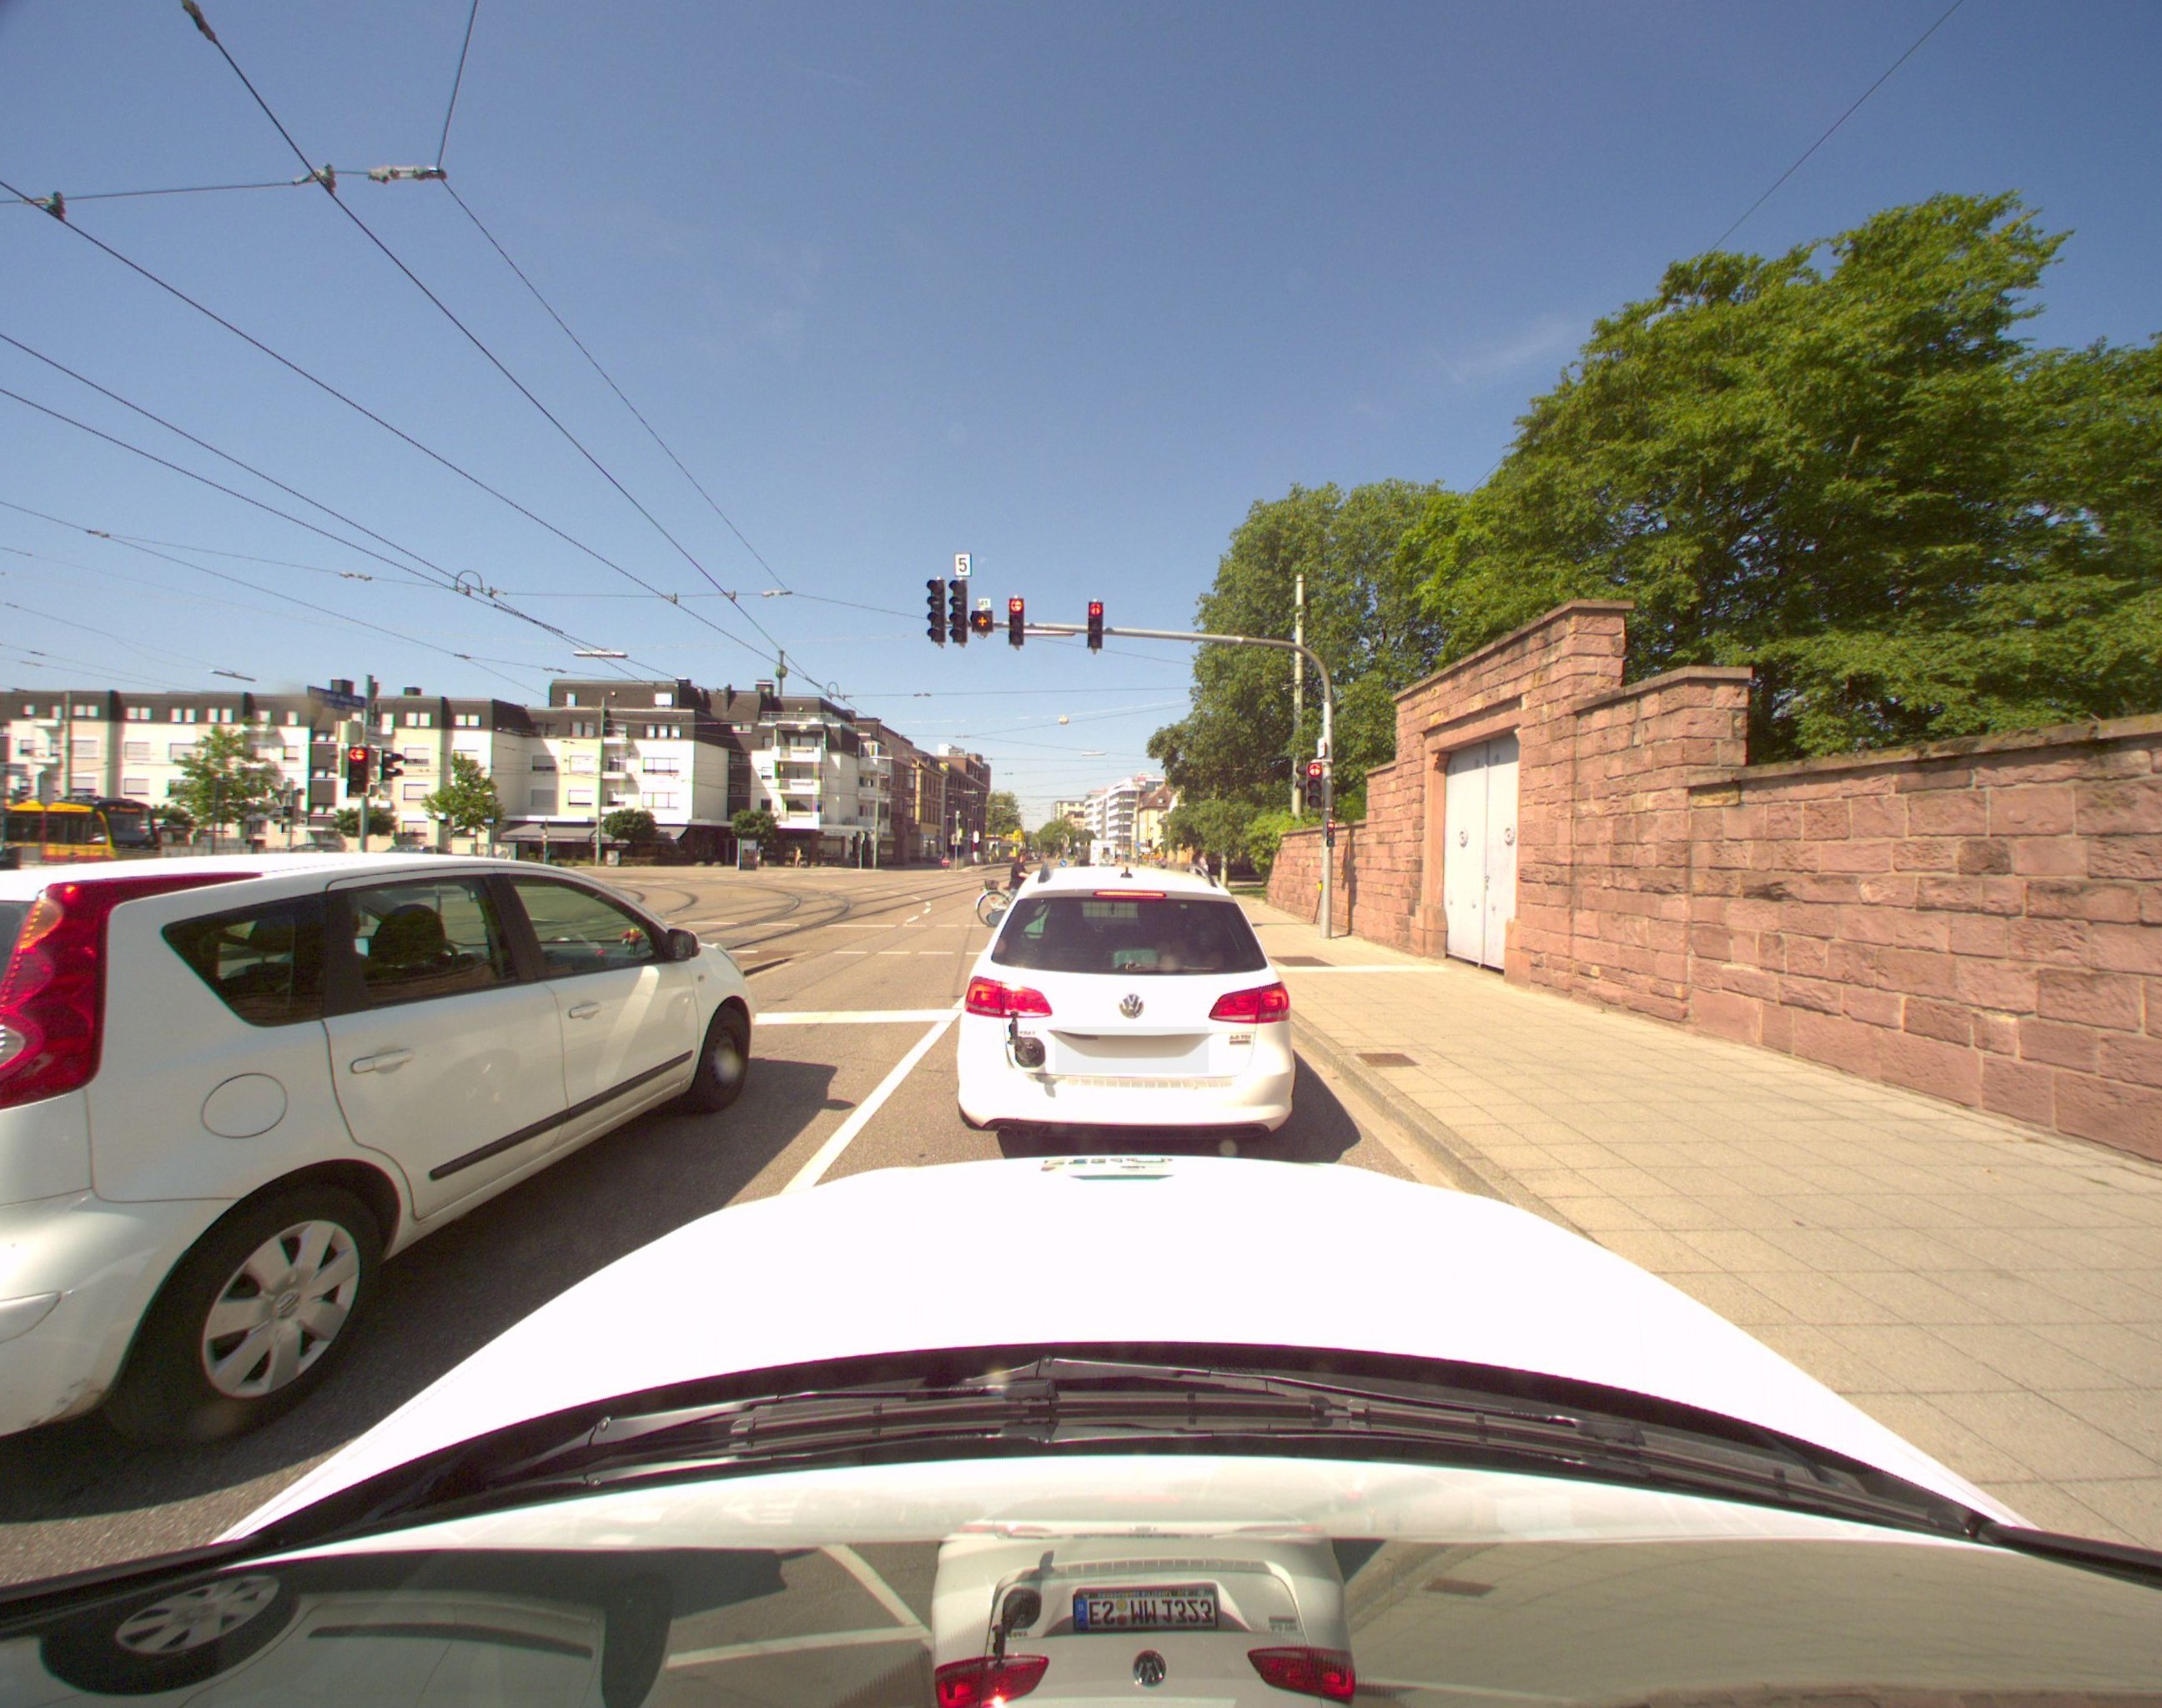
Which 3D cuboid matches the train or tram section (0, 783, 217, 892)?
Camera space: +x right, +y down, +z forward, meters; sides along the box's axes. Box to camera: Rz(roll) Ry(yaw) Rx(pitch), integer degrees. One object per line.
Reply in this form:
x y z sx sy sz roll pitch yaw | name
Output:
-54.716 -0.674 41.519 16.149 5.150 4.735 -1 -1 0 | train or tram section

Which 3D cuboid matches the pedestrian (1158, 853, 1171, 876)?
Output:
6.583 0.847 64.359 0.855 1.743 0.978 -1 -1 14 | pedestrian

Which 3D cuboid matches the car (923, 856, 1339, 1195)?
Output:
0.274 0.749 5.558 1.801 1.448 4.001 1 0 1 | car

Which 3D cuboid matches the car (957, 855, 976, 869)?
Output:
-13.567 0.983 96.791 1.736 1.618 3.997 -1 -1 -1 | car

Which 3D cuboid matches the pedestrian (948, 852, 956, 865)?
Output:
-17.320 0.622 109.237 0.860 1.743 0.973 -1 -1 -4 | pedestrian

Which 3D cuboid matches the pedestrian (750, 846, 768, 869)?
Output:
-24.806 0.310 62.743 0.853 1.743 0.981 -2 -2 40 | pedestrian

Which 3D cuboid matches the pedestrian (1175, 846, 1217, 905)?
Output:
3.274 0.615 23.197 0.944 1.651 0.980 -1 -1 21 | pedestrian

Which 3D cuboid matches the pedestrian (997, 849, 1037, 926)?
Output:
-1.357 0.677 17.072 0.746 1.571 0.672 -1 0 -12 | pedestrian

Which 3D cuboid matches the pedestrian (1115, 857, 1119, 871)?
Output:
6.048 1.735 136.331 0.687 2.325 1.233 -1 -1 3 | pedestrian

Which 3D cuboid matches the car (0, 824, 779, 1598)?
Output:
-2.906 0.709 3.552 1.636 1.566 3.805 -1 1 1 | car

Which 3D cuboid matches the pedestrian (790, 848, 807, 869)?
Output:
-23.141 0.358 66.792 0.853 1.743 0.981 -2 -2 38 | pedestrian

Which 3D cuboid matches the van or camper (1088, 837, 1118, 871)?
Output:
2.149 0.057 77.065 2.555 3.093 5.709 -1 -1 4 | van or camper

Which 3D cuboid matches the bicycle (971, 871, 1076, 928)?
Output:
-1.173 0.904 16.509 2.021 1.090 0.707 1 0 -13 | bicycle

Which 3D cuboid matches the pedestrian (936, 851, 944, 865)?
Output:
-17.965 0.526 103.498 0.860 1.743 0.973 -1 -1 -4 | pedestrian
